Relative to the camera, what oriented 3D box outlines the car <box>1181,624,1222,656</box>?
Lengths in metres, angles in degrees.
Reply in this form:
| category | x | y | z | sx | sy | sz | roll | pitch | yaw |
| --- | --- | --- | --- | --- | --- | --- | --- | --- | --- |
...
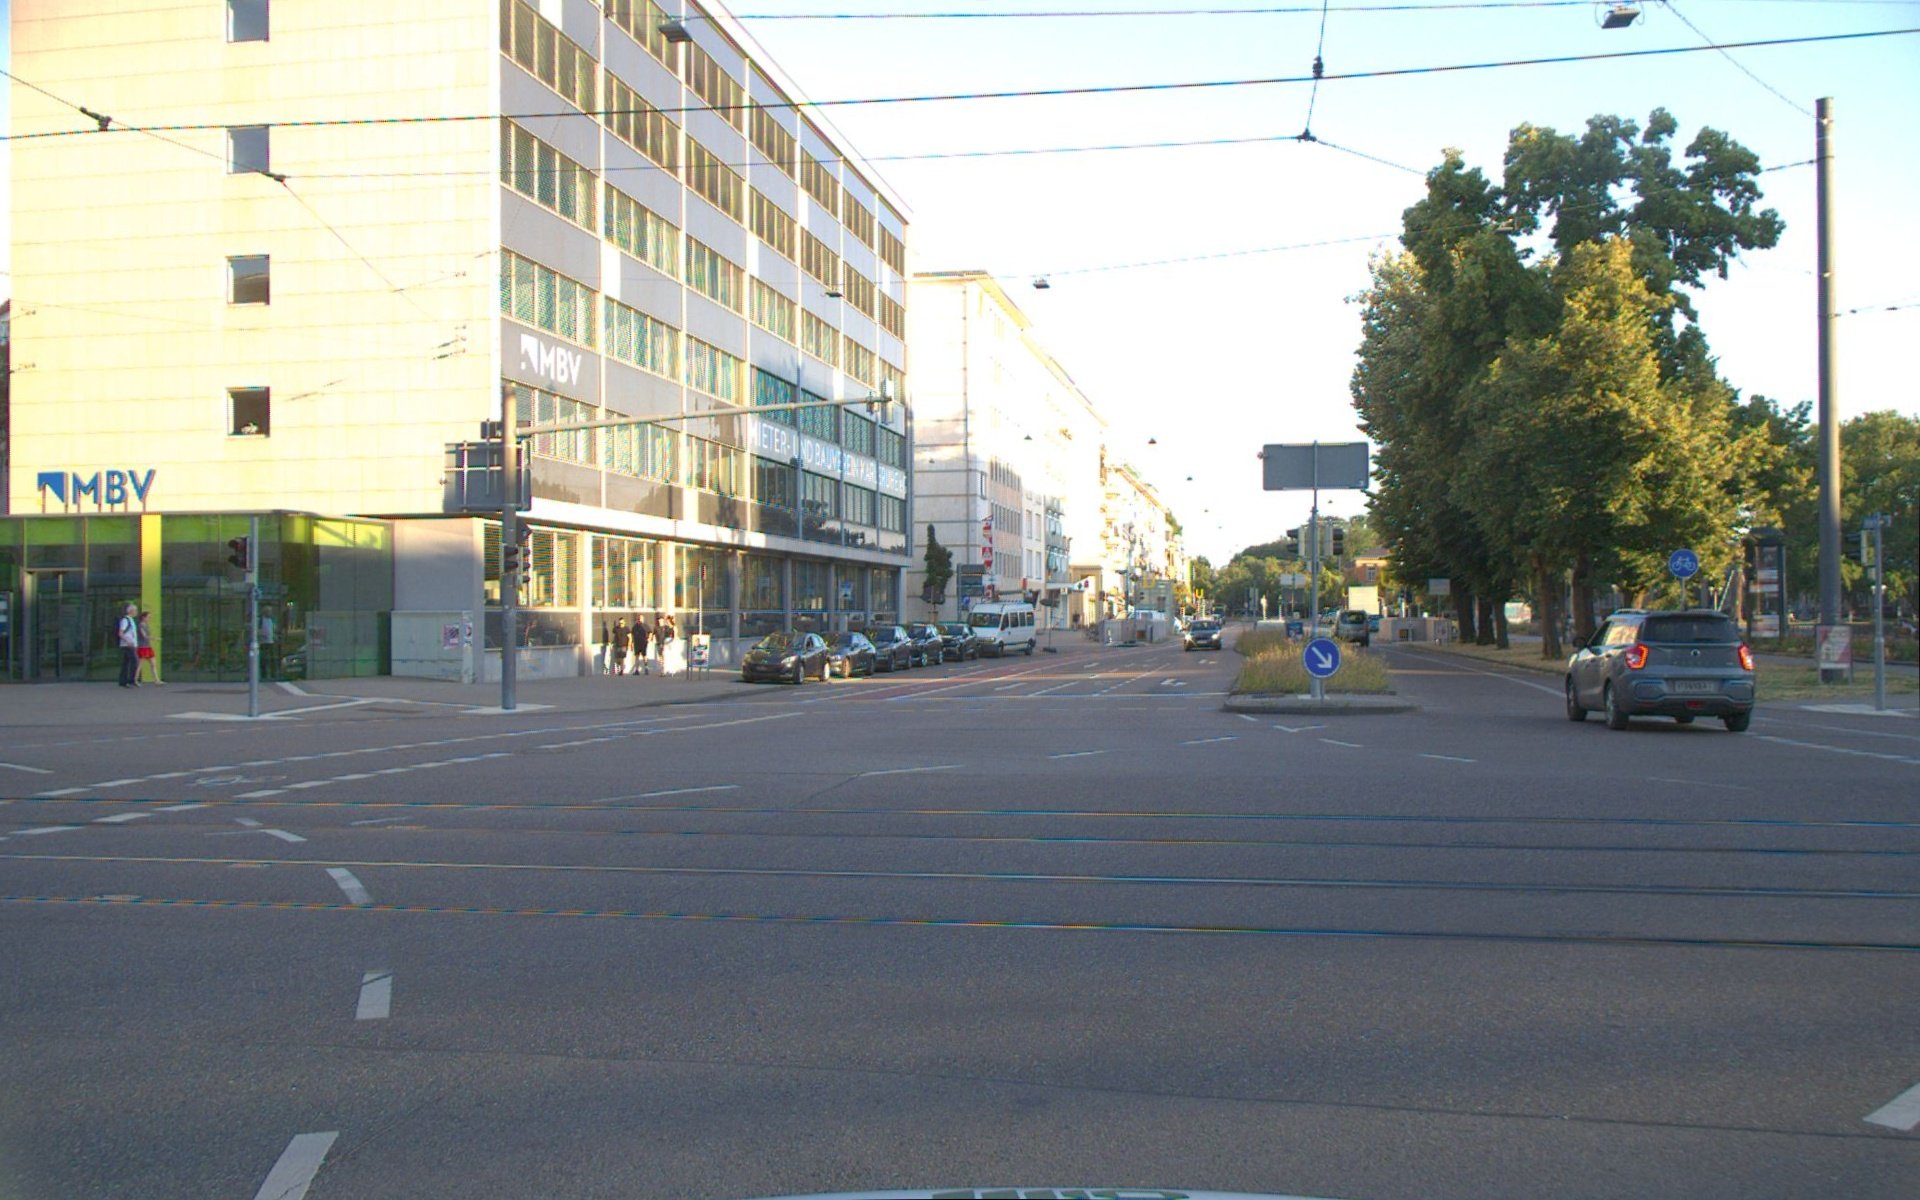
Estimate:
| category | x | y | z | sx | sy | sz | roll | pitch | yaw |
| --- | --- | --- | --- | --- | --- | --- | --- | --- | --- |
| car | 11.689 | 1.914 | 79.904 | 1.657 | 1.445 | 4.177 | -1 | -1 | 12 |

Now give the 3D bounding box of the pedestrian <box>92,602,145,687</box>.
| category | x | y | z | sx | sy | sz | roll | pitch | yaw |
| --- | --- | --- | --- | --- | --- | --- | --- | --- | --- |
| pedestrian | -17.875 | 0.941 | 35.150 | 0.717 | 1.799 | 0.709 | -1 | -1 | 11 |

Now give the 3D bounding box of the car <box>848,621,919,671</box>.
| category | x | y | z | sx | sy | sz | roll | pitch | yaw |
| --- | --- | --- | --- | --- | --- | --- | --- | --- | --- |
| car | -2.748 | 1.646 | 60.309 | 1.657 | 1.694 | 3.871 | 3 | 0 | 11 |

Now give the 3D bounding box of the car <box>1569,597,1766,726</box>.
| category | x | y | z | sx | sy | sz | roll | pitch | yaw |
| --- | --- | --- | --- | --- | --- | --- | --- | --- | --- |
| car | 9.863 | 0.816 | 23.350 | 1.657 | 1.633 | 4.093 | -2 | -1 | 11 |

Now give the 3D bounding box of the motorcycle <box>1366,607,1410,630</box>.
| category | x | y | z | sx | sy | sz | roll | pitch | yaw |
| --- | --- | --- | --- | --- | --- | --- | --- | --- | --- |
| motorcycle | 34.734 | 1.507 | 134.378 | 3.413 | 1.785 | 0.926 | -1 | -1 | 14 |

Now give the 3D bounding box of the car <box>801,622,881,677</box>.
| category | x | y | z | sx | sy | sz | roll | pitch | yaw |
| --- | --- | --- | --- | --- | --- | --- | --- | --- | --- |
| car | -3.928 | 1.616 | 55.304 | 1.657 | 1.694 | 3.871 | 3 | 0 | 11 |

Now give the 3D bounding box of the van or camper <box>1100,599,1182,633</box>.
| category | x | y | z | sx | sy | sz | roll | pitch | yaw |
| --- | --- | --- | --- | --- | --- | --- | --- | --- | --- |
| van or camper | 13.063 | 1.151 | 119.446 | 5.425 | 2.204 | 2.232 | -2 | -1 | -19 |

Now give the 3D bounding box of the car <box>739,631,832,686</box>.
| category | x | y | z | sx | sy | sz | roll | pitch | yaw |
| --- | --- | --- | --- | --- | --- | --- | --- | --- | --- |
| car | -5.162 | 1.706 | 49.317 | 1.657 | 1.435 | 3.871 | 3 | 0 | 11 |

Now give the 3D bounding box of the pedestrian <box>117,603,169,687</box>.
| category | x | y | z | sx | sy | sz | roll | pitch | yaw |
| --- | --- | --- | --- | --- | --- | --- | --- | --- | --- |
| pedestrian | -17.705 | 0.966 | 35.843 | 0.728 | 1.799 | 0.709 | -1 | -1 | 11 |

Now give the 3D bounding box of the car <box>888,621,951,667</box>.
| category | x | y | z | sx | sy | sz | roll | pitch | yaw |
| --- | --- | --- | --- | --- | --- | --- | --- | --- | --- |
| car | -1.573 | 1.715 | 65.477 | 1.657 | 1.694 | 3.871 | 3 | 0 | 11 |

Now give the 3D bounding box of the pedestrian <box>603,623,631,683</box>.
| category | x | y | z | sx | sy | sz | roll | pitch | yaw |
| --- | --- | --- | --- | --- | --- | --- | --- | --- | --- |
| pedestrian | -10.282 | 1.583 | 49.552 | 0.639 | 1.799 | 0.646 | -1 | -1 | 7 |

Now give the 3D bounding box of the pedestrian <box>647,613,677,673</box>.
| category | x | y | z | sx | sy | sz | roll | pitch | yaw |
| --- | --- | --- | --- | --- | --- | --- | --- | --- | --- |
| pedestrian | -9.039 | 1.306 | 50.172 | 0.723 | 1.799 | 0.673 | -1 | -1 | 7 |

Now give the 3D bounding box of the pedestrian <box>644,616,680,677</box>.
| category | x | y | z | sx | sy | sz | roll | pitch | yaw |
| --- | --- | --- | --- | --- | --- | --- | --- | --- | --- |
| pedestrian | -8.866 | 1.380 | 49.243 | 0.823 | 1.799 | 0.786 | -1 | -1 | 7 |

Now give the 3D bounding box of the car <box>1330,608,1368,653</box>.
| category | x | y | z | sx | sy | sz | roll | pitch | yaw |
| --- | --- | --- | --- | --- | --- | --- | --- | --- | --- |
| car | 20.377 | 1.567 | 86.643 | 1.843 | 2.277 | 3.913 | -1 | -1 | 12 |

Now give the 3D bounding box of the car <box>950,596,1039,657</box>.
| category | x | y | z | sx | sy | sz | roll | pitch | yaw |
| --- | --- | --- | --- | --- | --- | --- | --- | --- | --- |
| car | 1.703 | 1.266 | 78.027 | 2.192 | 2.675 | 5.852 | 3 | 0 | 21 |

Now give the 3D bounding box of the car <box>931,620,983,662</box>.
| category | x | y | z | sx | sy | sz | roll | pitch | yaw |
| --- | --- | --- | --- | --- | --- | --- | --- | --- | --- |
| car | -0.099 | 1.753 | 71.492 | 1.467 | 1.694 | 3.871 | 3 | 0 | 11 |

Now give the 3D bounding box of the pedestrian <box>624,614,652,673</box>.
| category | x | y | z | sx | sy | sz | roll | pitch | yaw |
| --- | --- | --- | --- | --- | --- | --- | --- | --- | --- |
| pedestrian | -9.780 | 1.314 | 50.242 | 0.639 | 1.799 | 0.646 | -1 | -1 | 7 |
